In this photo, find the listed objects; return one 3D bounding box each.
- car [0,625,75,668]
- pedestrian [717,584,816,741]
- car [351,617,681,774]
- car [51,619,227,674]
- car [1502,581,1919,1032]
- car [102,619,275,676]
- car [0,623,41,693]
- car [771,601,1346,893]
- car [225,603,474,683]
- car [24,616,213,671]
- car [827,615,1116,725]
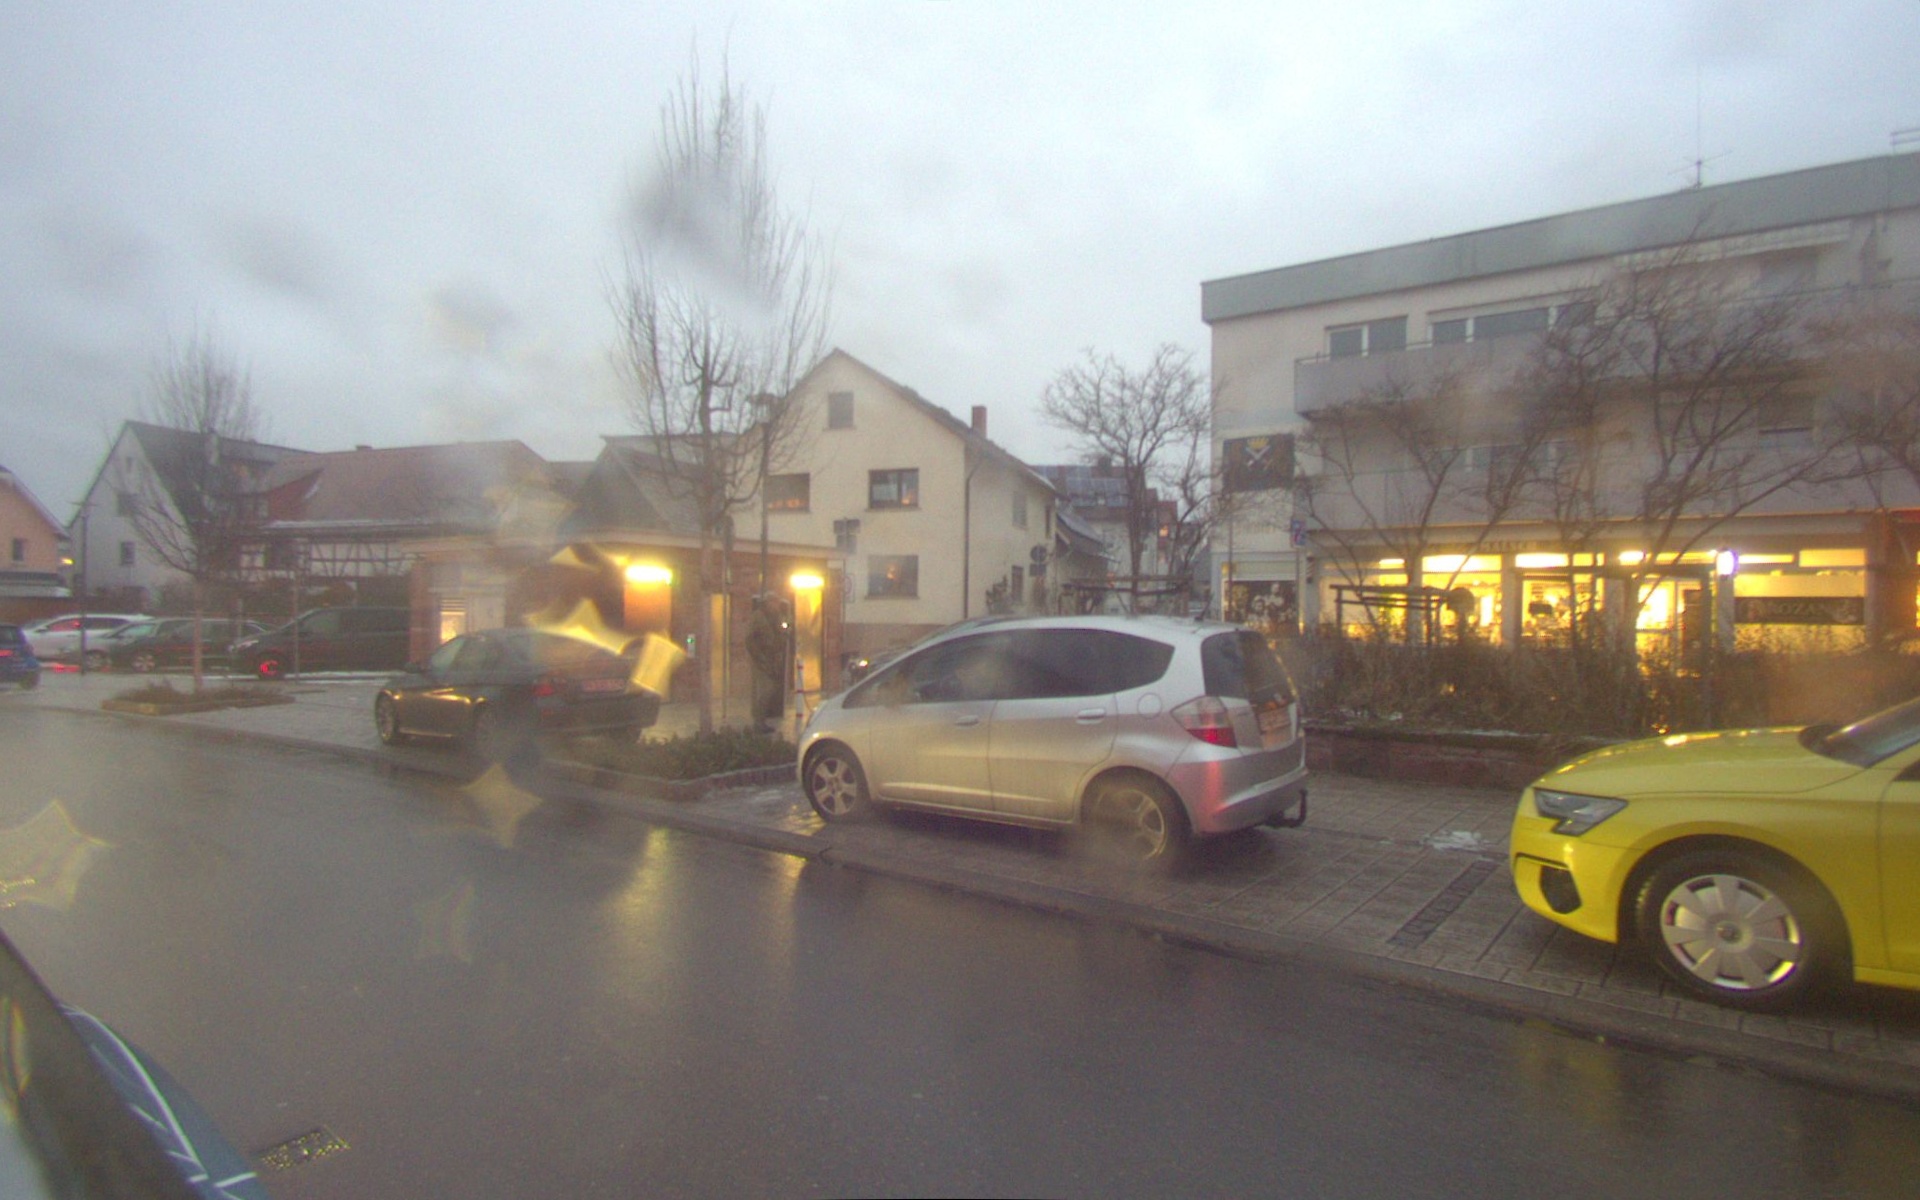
[{"bbox_3d":[-33.745,1.613,35.436,1.758,1.470,4.015,-1,-2,44],"label":"car"},{"bbox_3d":[-2.445,0.763,12.763,1.060,1.881,0.746,-1,-2,41],"label":"pedestrian"},{"bbox_3d":[-5.347,0.971,11.901,4.454,1.483,1.729,-1,0,39],"label":"car"},{"bbox_3d":[-25.069,1.415,31.022,4.049,1.594,1.723,2,-3,-41],"label":"car"},{"bbox_3d":[4.500,0.682,3.496,4.341,1.528,1.730,-1,0,42],"label":"car"},{"bbox_3d":[-22.497,1.342,29.676,3.934,1.541,2.004,0,-1,-37],"label":"car"},{"bbox_3d":[-22.997,1.314,23.130,3.658,1.547,1.822,-1,-1,28],"label":"car"},{"bbox_3d":[0.553,0.810,7.200,3.768,1.528,1.676,-1,0,38],"label":"car"},{"bbox_3d":[-15.750,1.118,26.325,5.307,1.900,2.079,2,-3,-34],"label":"car"},{"bbox_3d":[-27.187,1.377,32.859,4.583,1.666,1.991,1,-2,-41],"label":"car"},{"bbox_3d":[0.196,1.025,15.345,4.018,1.488,1.745,2,-3,-26],"label":"car"}]
